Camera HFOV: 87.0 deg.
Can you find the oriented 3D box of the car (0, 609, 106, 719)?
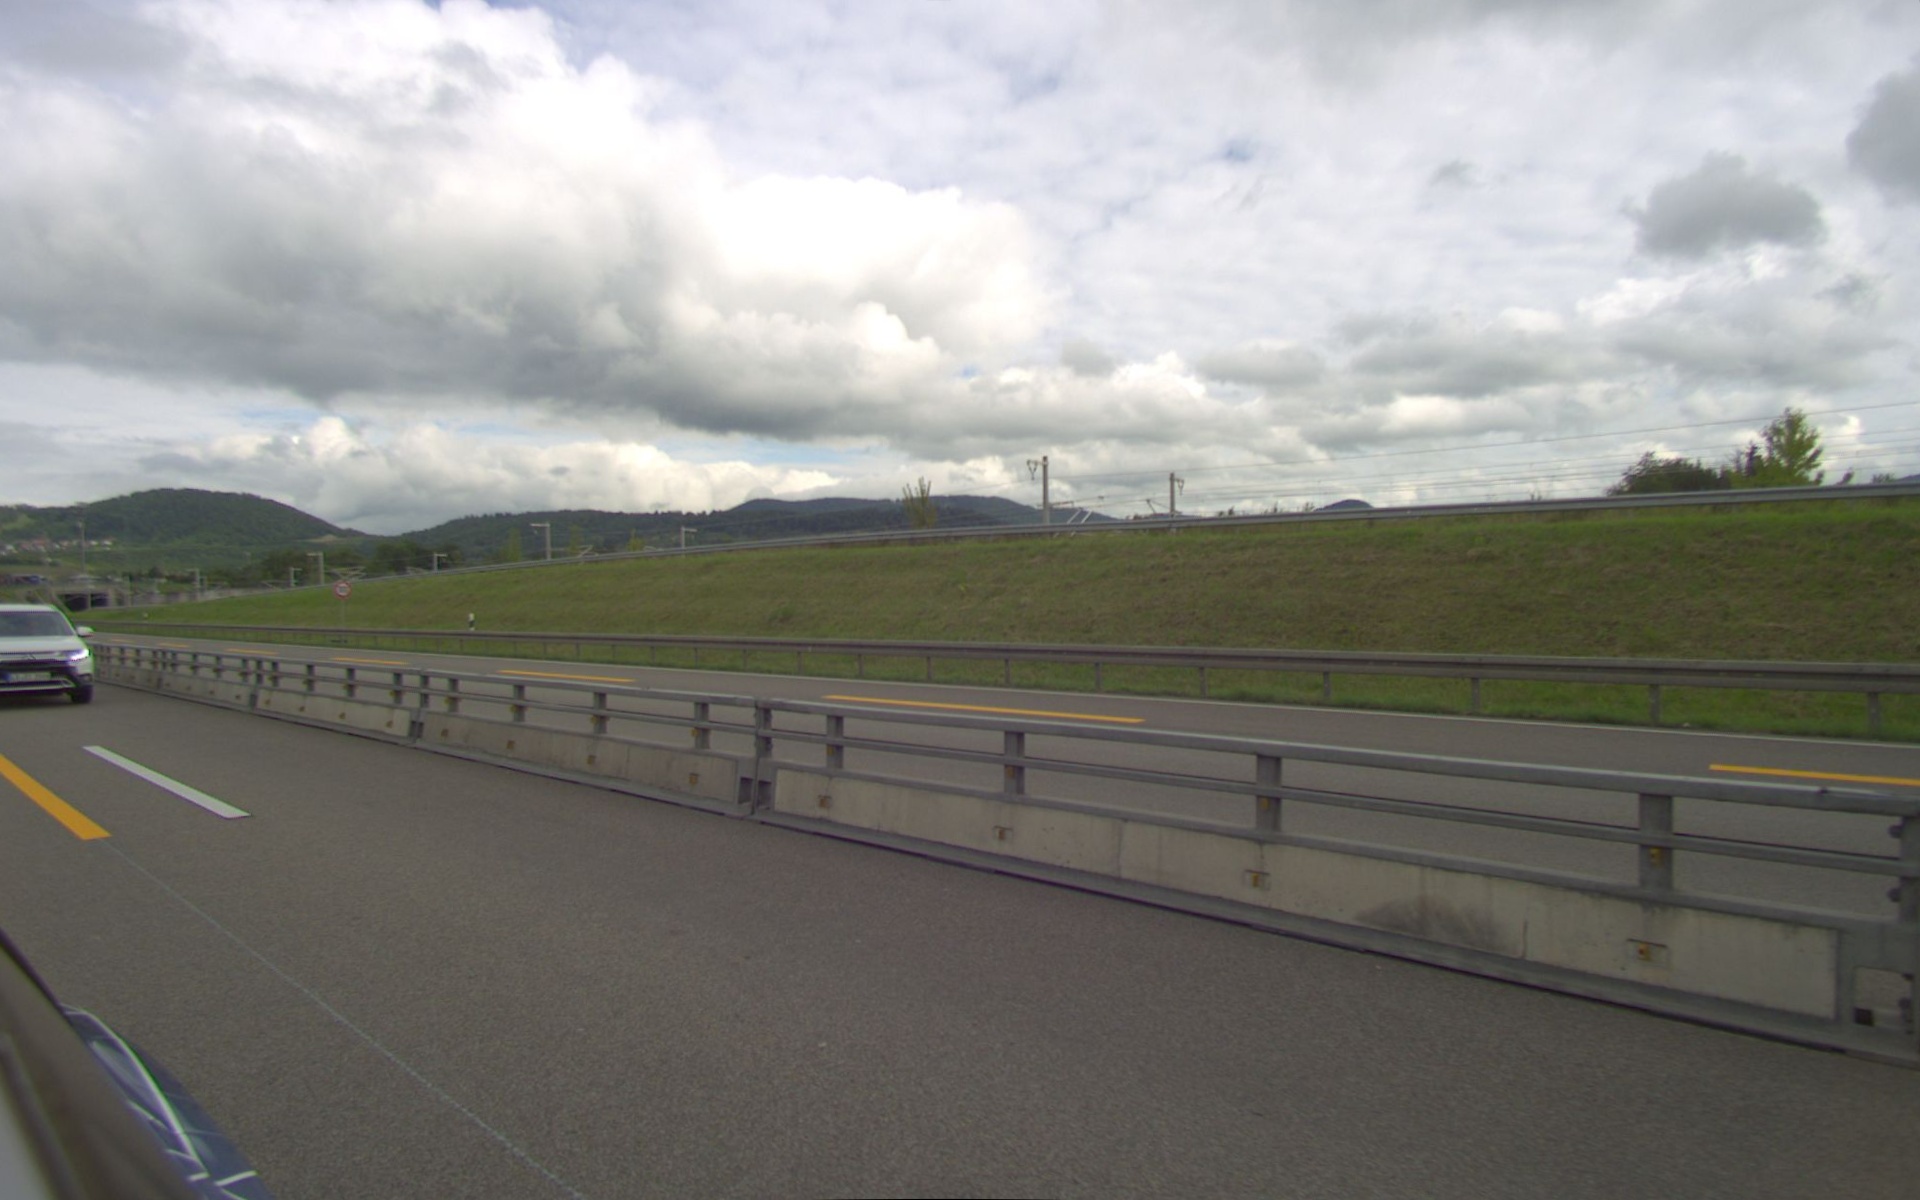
[{"bbox_3d":[-15.939,0.997,16.889,4.606,1.640,1.972,-1,-1,42],"label":"car"}]
